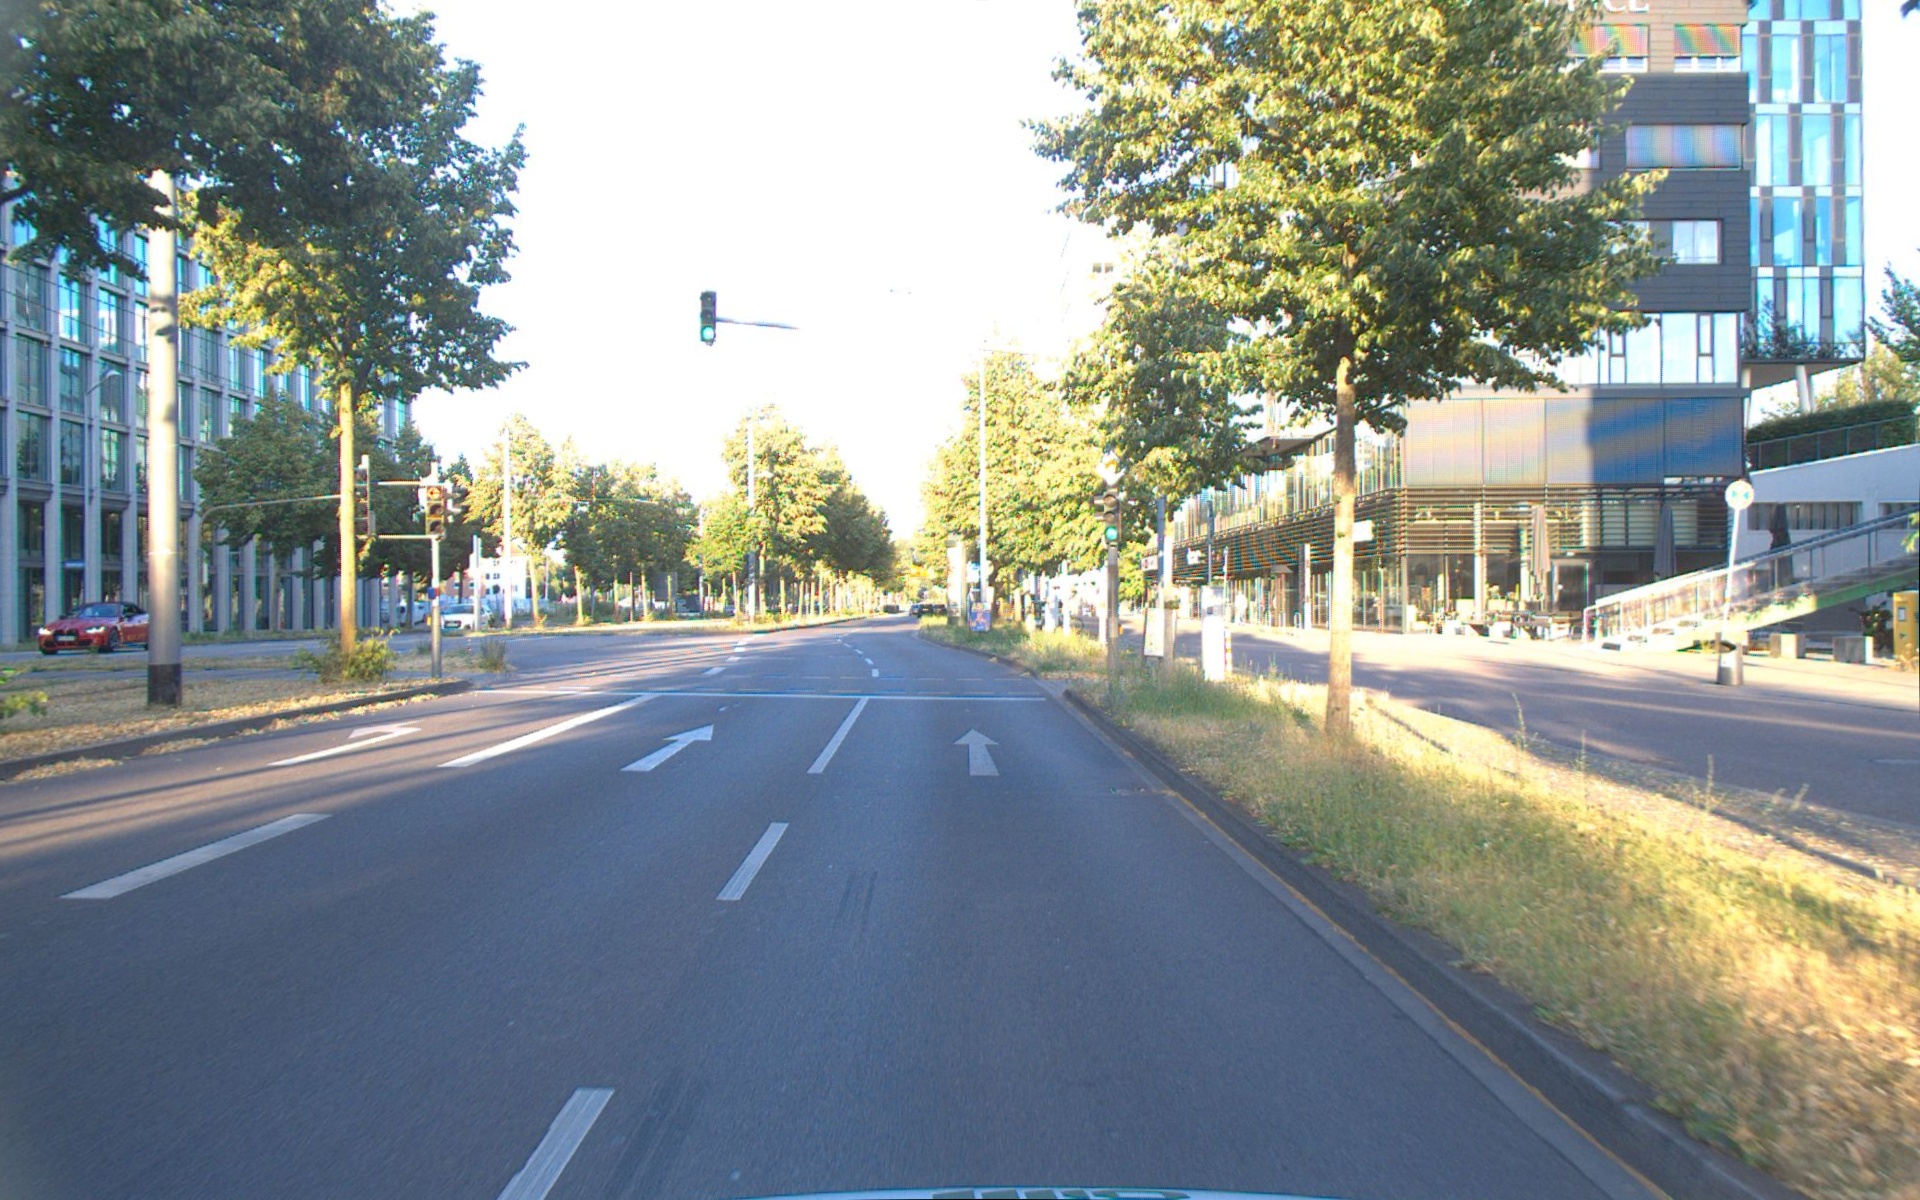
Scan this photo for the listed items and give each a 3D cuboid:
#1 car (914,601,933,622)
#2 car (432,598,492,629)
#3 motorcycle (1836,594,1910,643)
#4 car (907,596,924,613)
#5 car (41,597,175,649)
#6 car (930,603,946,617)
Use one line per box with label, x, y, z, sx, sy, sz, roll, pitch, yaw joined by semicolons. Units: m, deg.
car;-3.827;1.152;171.566;1.953;2.049;3.999;0;1;-2
car;-22.826;0.605;75.917;1.751;1.355;3.670;-1;0;-2
motorcycle;21.605;0.426;39.195;0.636;1.113;2.334;-1;0;5
car;-5.667;0.554;210.359;2.045;2.049;3.999;0;1;-2
car;-24.164;0.615;47.071;1.623;1.355;4.525;0;0;-2
car;-2.645;1.204;197.505;1.834;1.601;3.677;0;0;0
